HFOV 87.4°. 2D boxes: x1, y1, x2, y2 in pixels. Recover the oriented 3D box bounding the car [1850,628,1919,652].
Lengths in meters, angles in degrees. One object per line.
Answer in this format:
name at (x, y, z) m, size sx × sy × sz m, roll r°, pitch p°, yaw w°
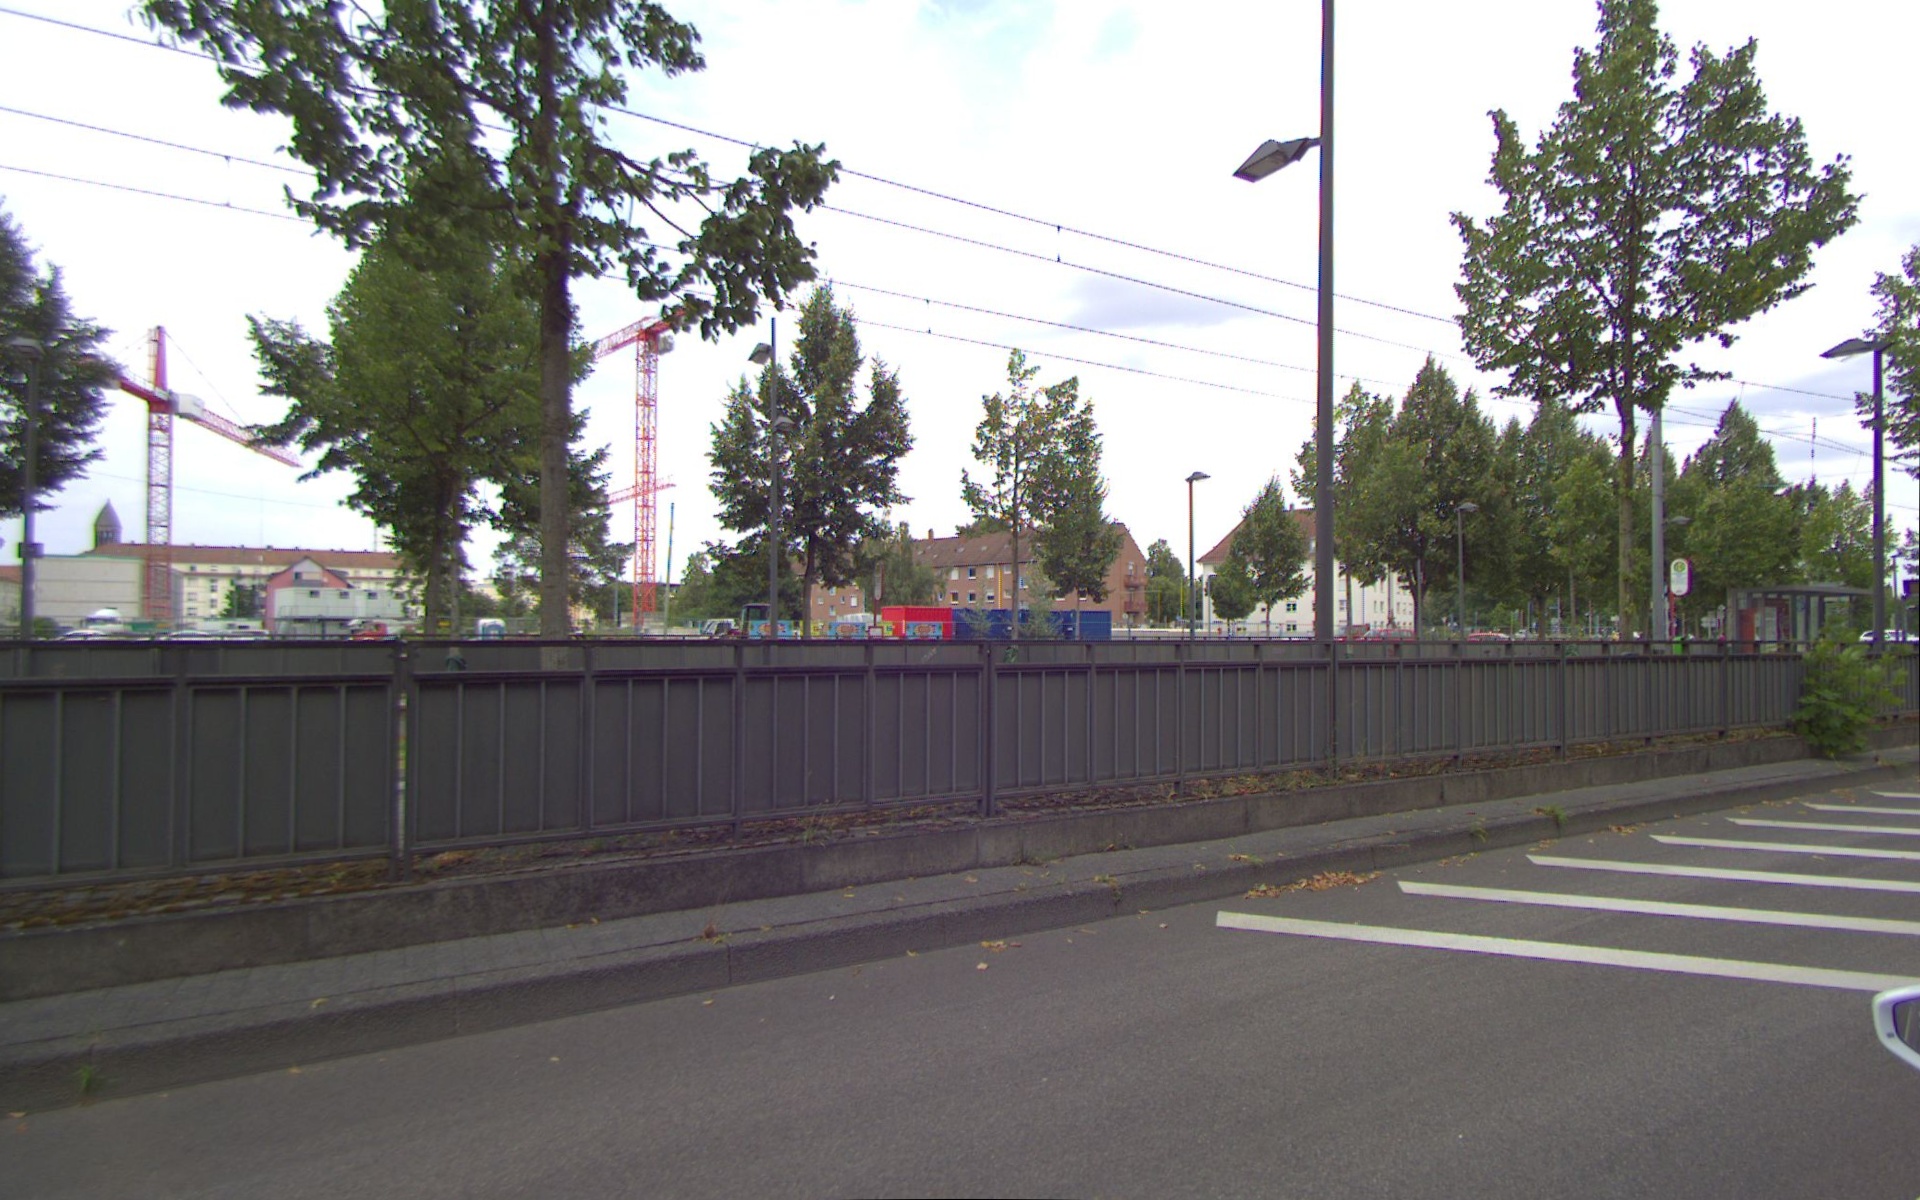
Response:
car at (65.399, 2.809, 70.605) m, size 1.960 × 1.639 × 4.387 m, roll 0°, pitch -2°, yaw 5°
